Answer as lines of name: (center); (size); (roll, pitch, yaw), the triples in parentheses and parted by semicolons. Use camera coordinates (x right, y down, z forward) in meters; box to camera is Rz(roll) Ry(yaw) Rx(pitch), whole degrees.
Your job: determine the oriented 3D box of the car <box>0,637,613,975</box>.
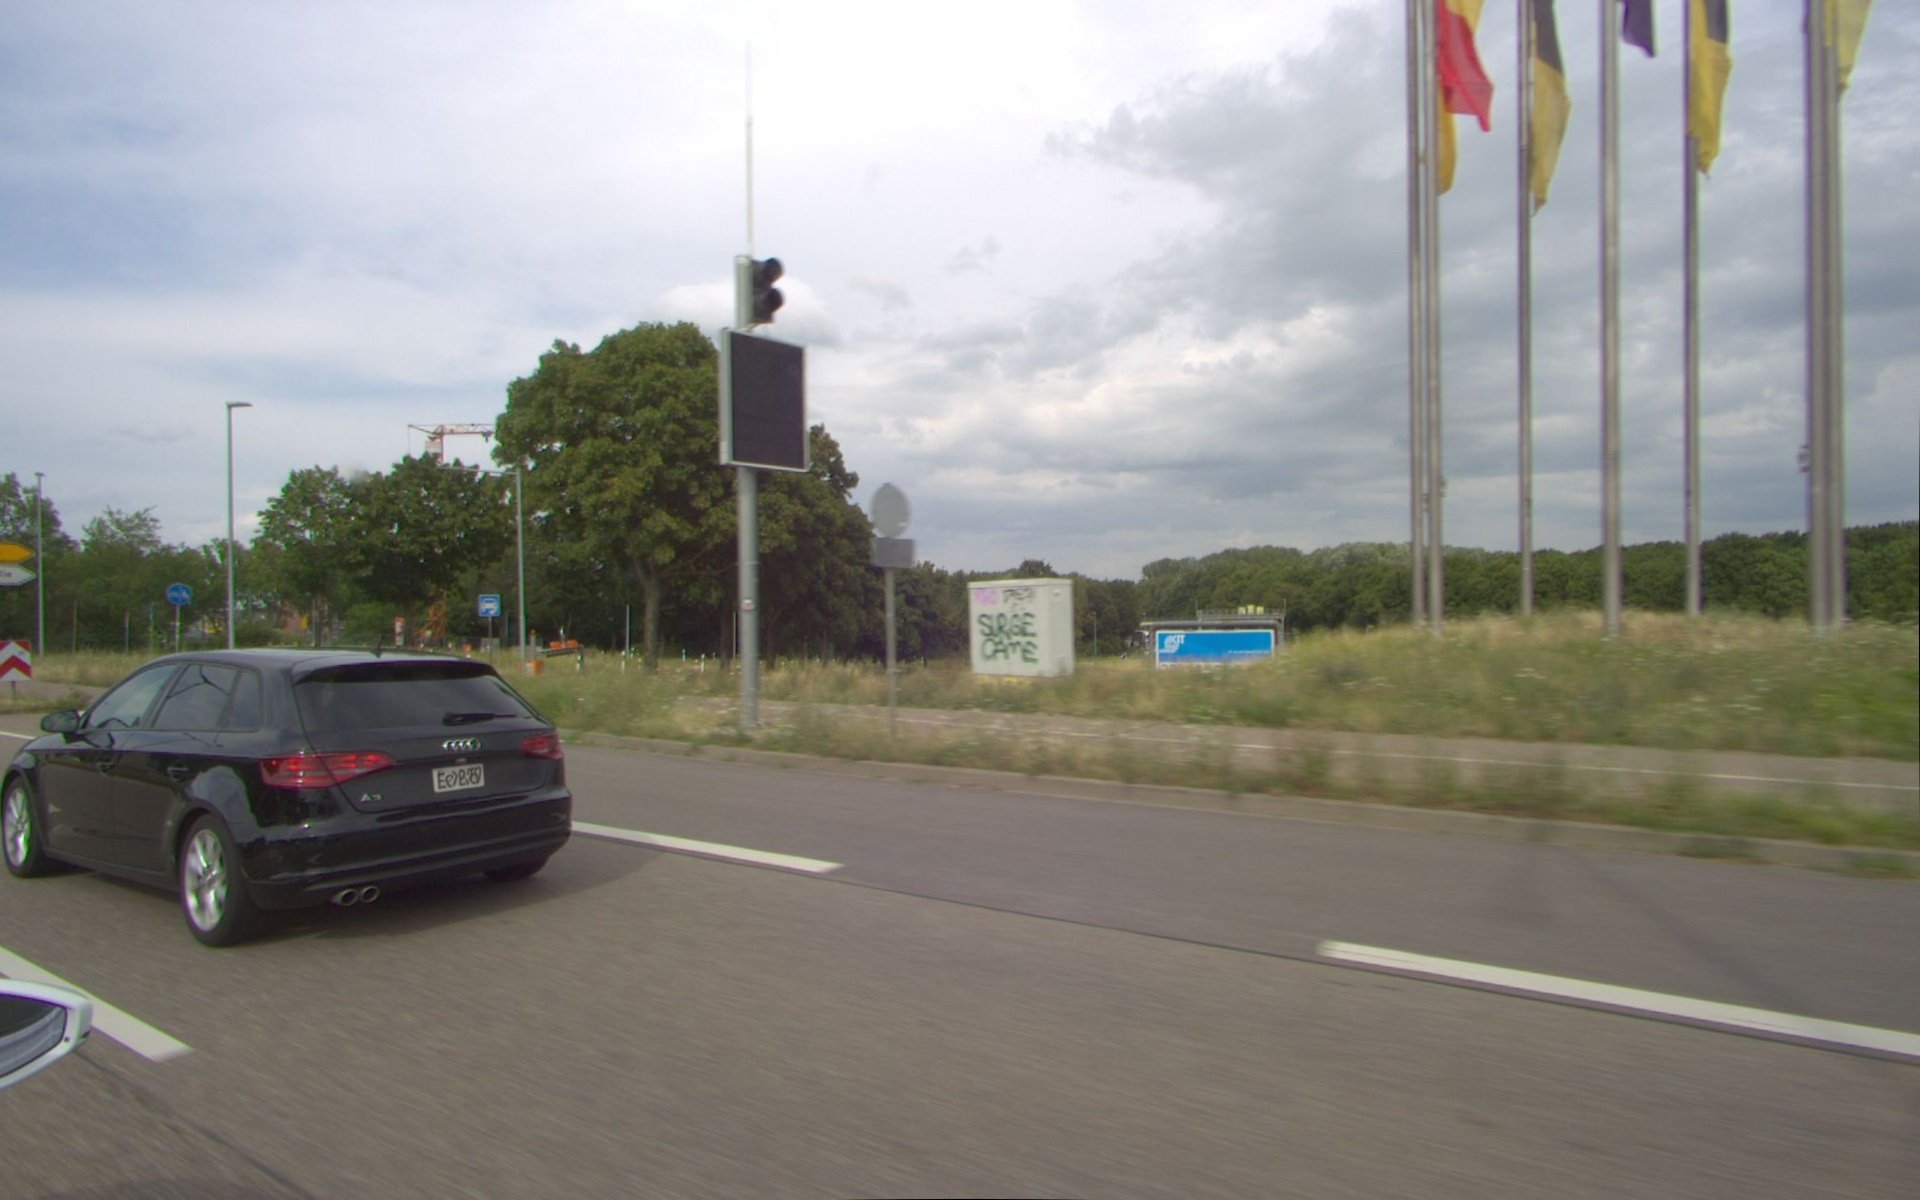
car: (-4.172, 0.949, 6.104); (4.055, 1.413, 1.728); (-1, -2, 32)
